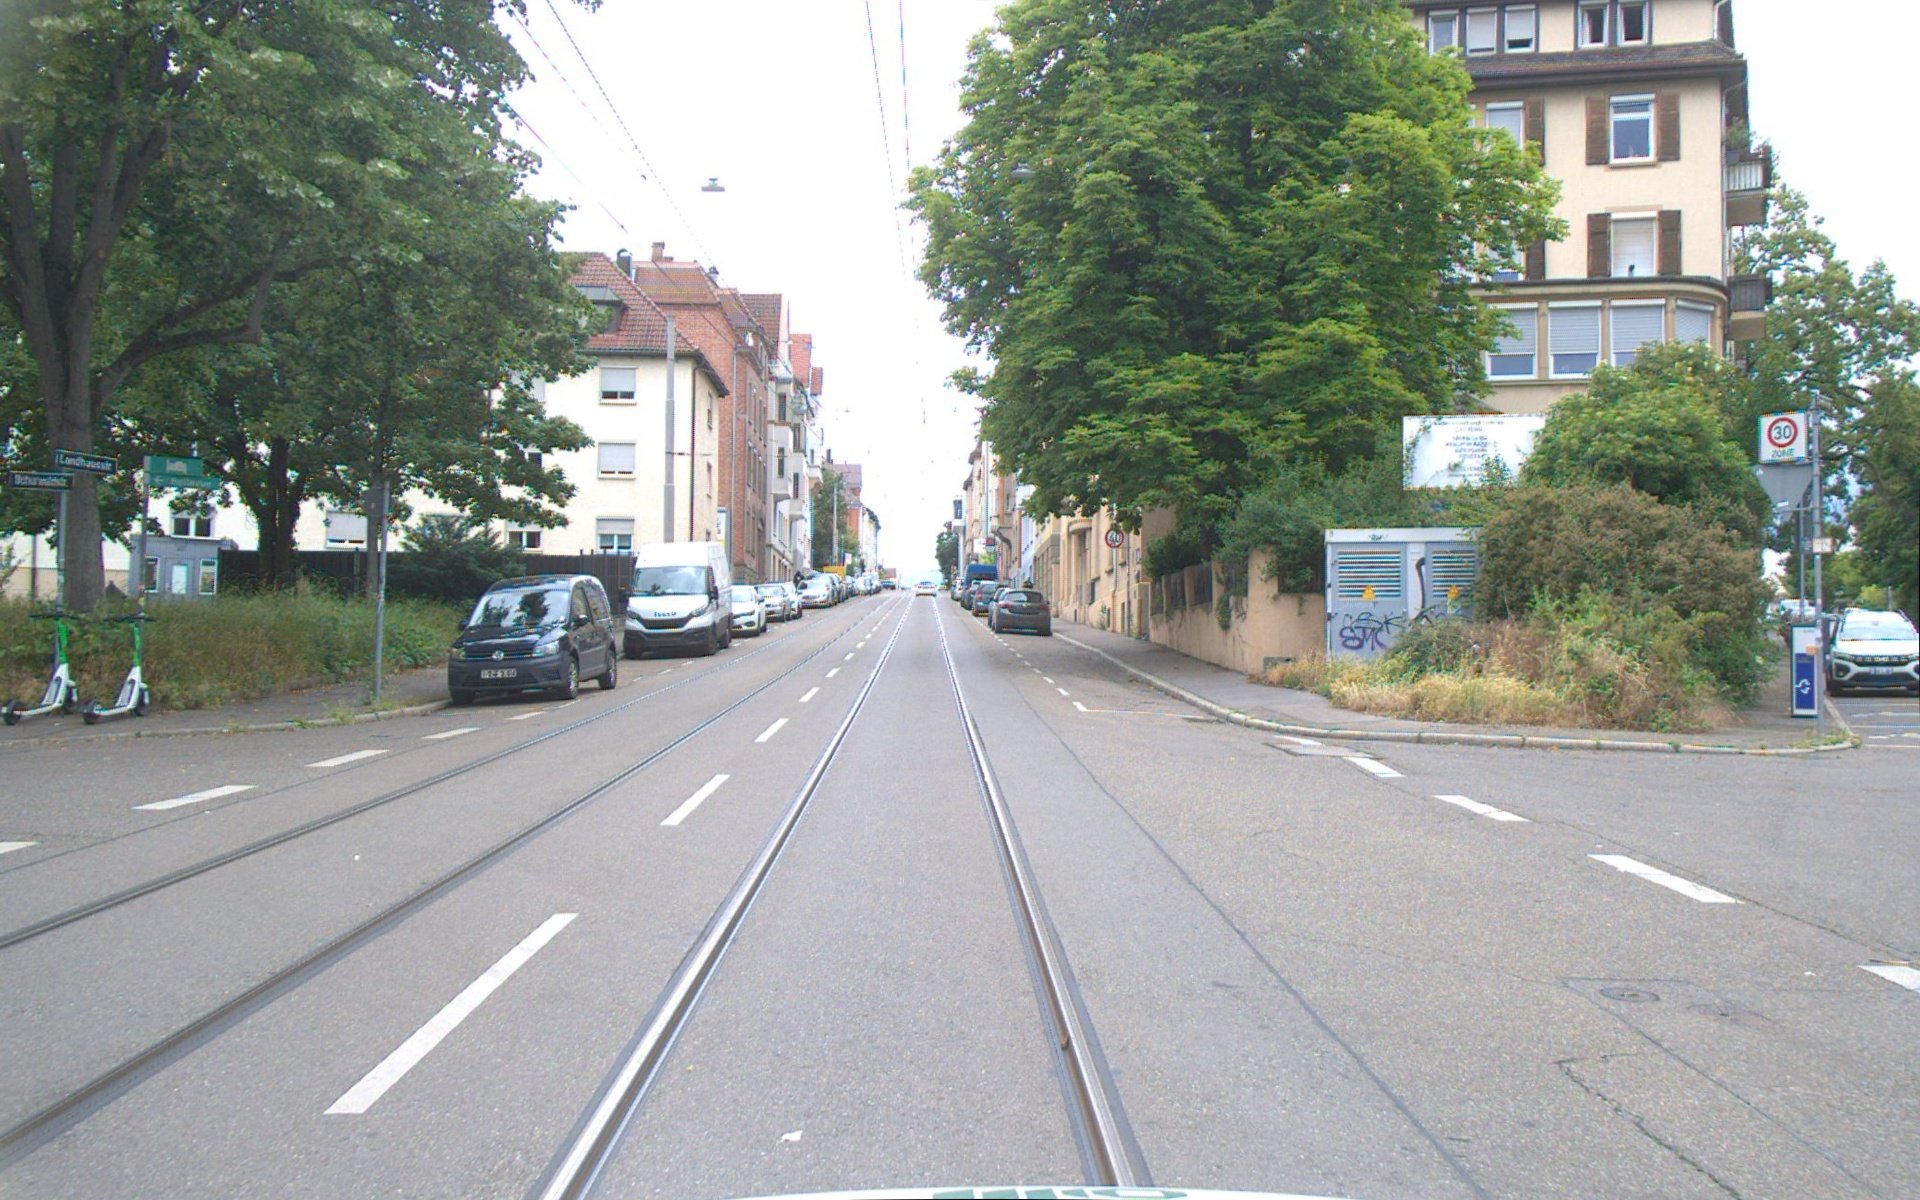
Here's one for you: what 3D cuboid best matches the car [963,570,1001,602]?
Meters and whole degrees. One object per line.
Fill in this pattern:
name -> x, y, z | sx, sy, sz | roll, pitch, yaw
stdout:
car -> 1.145, -0.752, 87.455 | 1.744, 1.557, 4.191 | 4, 0, -2

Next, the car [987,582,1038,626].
car -> 1.894, 0.133, 60.340 | 1.661, 1.428, 3.667 | 3, 1, -1

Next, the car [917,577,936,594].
car -> -2.986, -1.293, 146.071 | 1.638, 1.539, 3.796 | 0, 1, -2

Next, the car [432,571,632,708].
car -> -6.358, 0.520, 25.113 | 1.726, 1.806, 4.668 | -3, 1, 0

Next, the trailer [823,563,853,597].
trailer -> -8.152, -1.385, 110.839 | 1.713, 2.193, 4.071 | -2, 1, -1

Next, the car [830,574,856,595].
car -> -8.622, -1.132, 122.262 | 1.662, 1.494, 3.023 | -2, 1, -1

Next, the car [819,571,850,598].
car -> -8.089, -1.000, 106.660 | 1.662, 1.621, 4.268 | -2, 1, -1

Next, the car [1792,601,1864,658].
car -> 24.852, 0.833, 47.428 | 1.710, 1.568, 3.783 | -1, -1, 27

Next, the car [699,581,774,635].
car -> -6.595, 0.205, 49.208 | 1.684, 1.427, 4.312 | -2, 1, -1

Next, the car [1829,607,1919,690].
car -> 18.583, 0.920, 33.412 | 1.805, 1.561, 4.498 | 0, 0, 28

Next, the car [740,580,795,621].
car -> -7.256, 0.001, 62.570 | 1.568, 1.392, 3.807 | -3, 1, 0

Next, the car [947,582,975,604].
car -> 0.039, -0.485, 114.432 | 1.715, 1.414, 4.306 | 3, 1, -2

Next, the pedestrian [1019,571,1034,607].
pedestrian -> 3.287, -0.555, 81.375 | 0.530, 1.711, 0.515 | -4, -2, -10

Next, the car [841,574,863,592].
car -> -9.767, -1.513, 149.773 | 1.662, 1.583, 3.850 | 1, 1, 0

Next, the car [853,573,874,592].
car -> -9.362, -1.701, 161.163 | 1.708, 1.766, 4.519 | -1, 1, 0

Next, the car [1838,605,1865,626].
car -> 69.210, 1.203, 128.473 | 1.710, 1.568, 3.783 | -1, -1, 27

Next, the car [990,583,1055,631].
car -> 1.990, 0.208, 53.898 | 1.802, 1.427, 4.166 | 2, 0, -1

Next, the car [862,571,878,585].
car -> -9.714, -2.395, 179.545 | 1.663, 1.458, 4.479 | -1, 1, -3

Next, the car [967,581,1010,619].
car -> 1.258, -0.035, 75.132 | 1.790, 1.545, 4.027 | 3, 1, -1

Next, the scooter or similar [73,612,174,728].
scooter or similar -> -9.430, 0.763, 18.702 | 0.305, 1.165, 1.717 | 1, 2, -1

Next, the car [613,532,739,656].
car -> -6.676, -0.194, 39.609 | 2.115, 2.652, 6.216 | -2, 1, -3

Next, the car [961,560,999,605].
car -> 1.081, -0.958, 92.884 | 1.953, 2.418, 5.055 | 1, 0, -1

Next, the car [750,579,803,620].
car -> -7.392, -0.043, 67.005 | 1.791, 1.453, 4.625 | -3, 1, -3

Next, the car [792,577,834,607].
car -> -7.660, -0.448, 86.583 | 1.790, 1.454, 4.839 | -2, 1, -1

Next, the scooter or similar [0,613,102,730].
scooter or similar -> -10.159, 0.767, 18.458 | 0.305, 1.165, 1.717 | 1, 2, -1
